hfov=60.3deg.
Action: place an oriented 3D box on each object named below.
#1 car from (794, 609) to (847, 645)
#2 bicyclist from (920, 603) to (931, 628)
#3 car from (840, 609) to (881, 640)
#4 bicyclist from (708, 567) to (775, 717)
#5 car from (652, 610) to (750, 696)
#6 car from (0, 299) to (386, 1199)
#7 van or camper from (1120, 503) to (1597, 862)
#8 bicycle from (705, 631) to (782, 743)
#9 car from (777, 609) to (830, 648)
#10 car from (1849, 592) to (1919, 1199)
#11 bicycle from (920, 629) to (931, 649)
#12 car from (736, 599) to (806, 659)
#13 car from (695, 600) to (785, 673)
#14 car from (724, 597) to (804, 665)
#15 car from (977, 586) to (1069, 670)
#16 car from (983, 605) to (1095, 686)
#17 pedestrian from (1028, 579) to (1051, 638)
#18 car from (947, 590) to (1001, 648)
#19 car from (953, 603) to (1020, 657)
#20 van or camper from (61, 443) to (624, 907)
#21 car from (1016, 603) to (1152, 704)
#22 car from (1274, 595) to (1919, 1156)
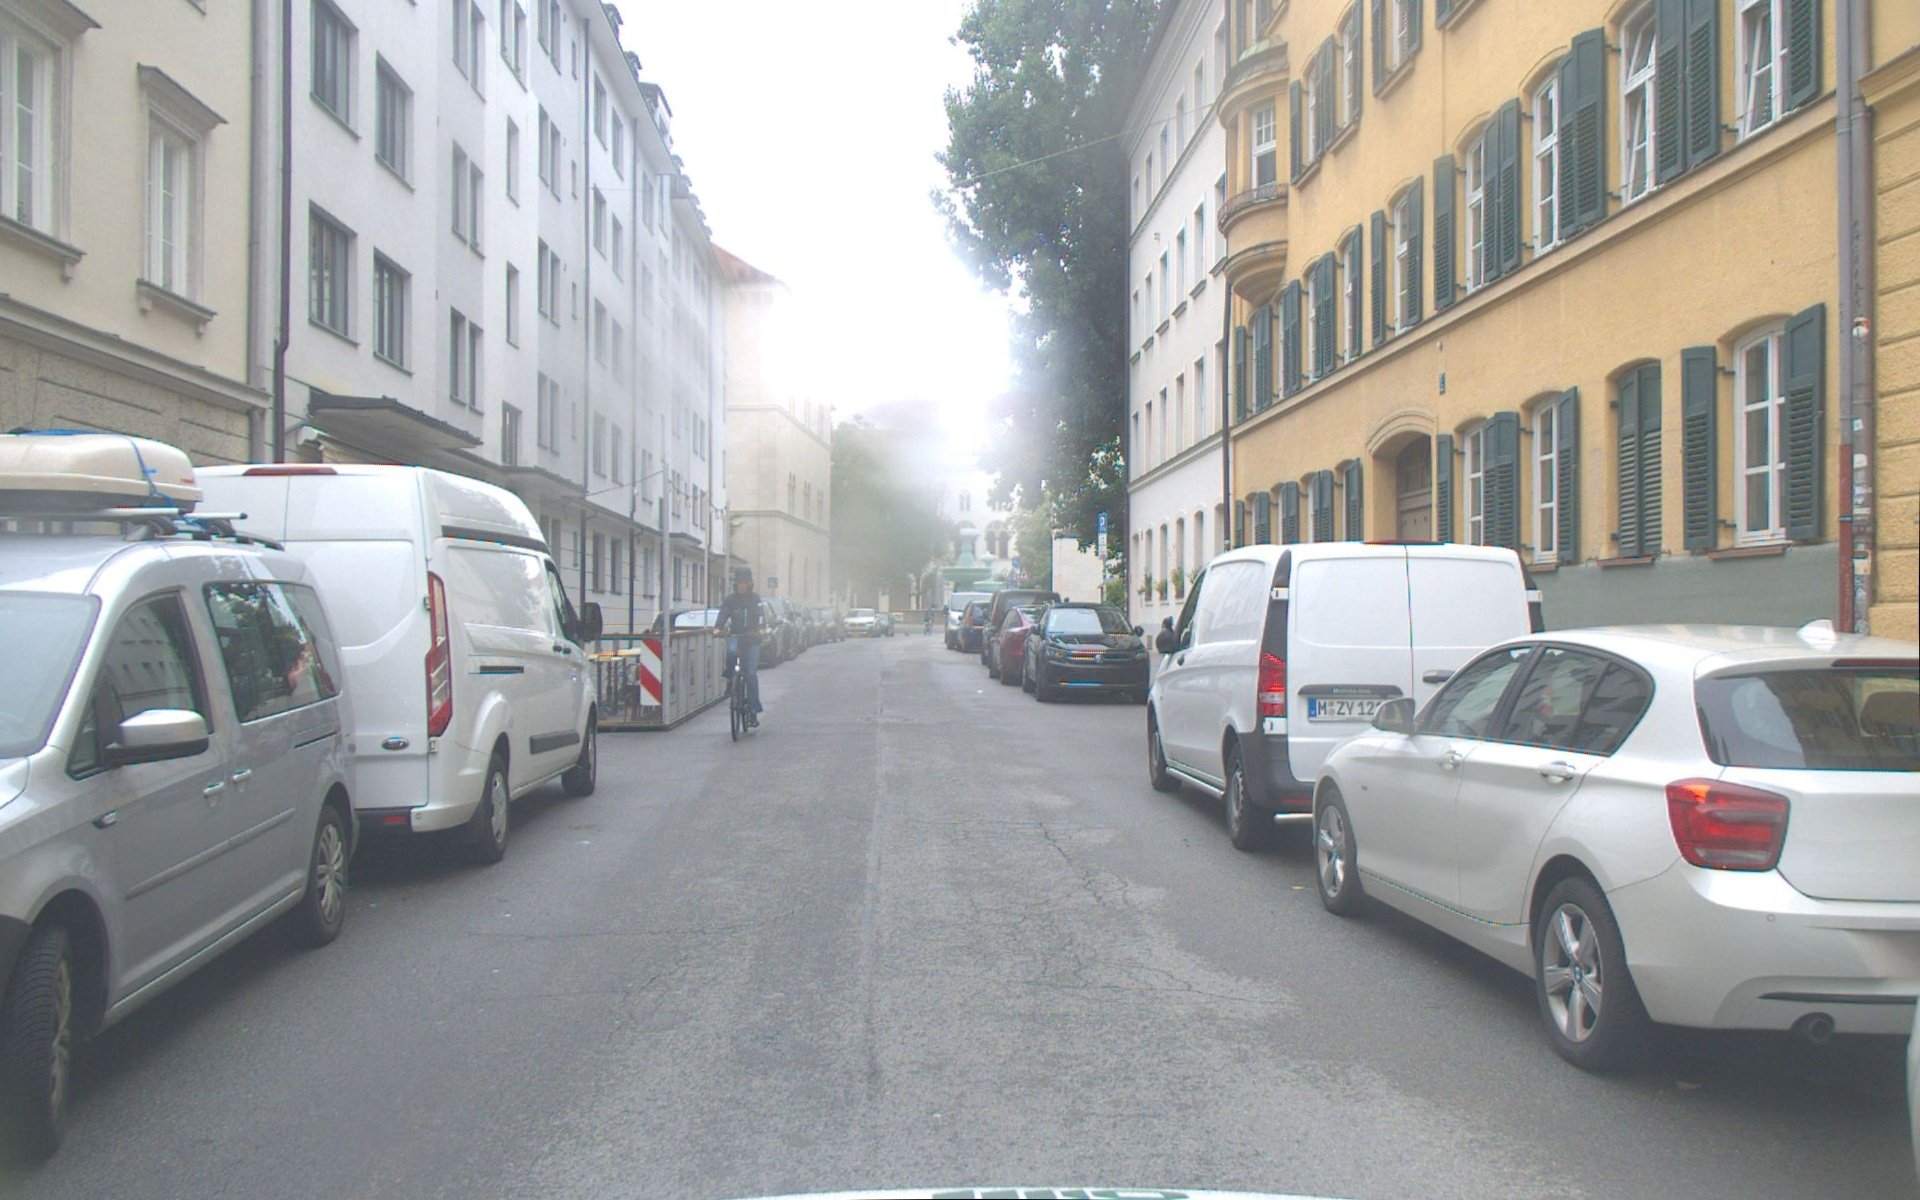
[{"bbox_3d":[-6.099,1.157,72.639,1.714,1.479,4.017,-2,0,3],"label":"car"},{"bbox_3d":[-2.188,0.971,103.818,0.643,1.578,0.887,0,-1,0],"label":"bicyclist"},{"bbox_3d":[-5.276,1.345,87.934,1.741,1.562,4.212,-2,-1,2],"label":"car"},{"bbox_3d":[-2.465,0.466,18.741,0.673,1.656,0.852,1,0,-4],"label":"bicyclist"},{"bbox_3d":[-4.664,0.906,29.835,1.608,1.378,4.050,-2,0,-9],"label":"car"},{"bbox_3d":[-3.515,0.394,6.002,1.822,2.240,4.553,1,0,-8],"label":"car"},{"bbox_3d":[2.556,0.470,12.127,1.954,2.049,5.229,0,0,-3],"label":"van or camper"},{"bbox_3d":[-2.429,0.951,18.735,0.718,1.171,1.998,0,0,-3],"label":"bicycle"},{"bbox_3d":[-6.376,1.150,67.868,1.714,1.479,4.016,-2,0,1],"label":"car"},{"bbox_3d":[2.957,0.741,1.990,1.591,1.536,3.759,0,0,-3],"label":"car"},{"bbox_3d":[-2.177,2.448,103.784,0.635,1.218,1.950,-1,-1,0],"label":"bicycle"},{"bbox_3d":[-5.769,0.858,50.929,1.835,1.687,4.587,-2,0,-3],"label":"car"},{"bbox_3d":[-5.164,0.817,39.239,1.738,1.566,4.156,-2,0,-3],"label":"car"},{"bbox_3d":[-5.331,0.795,45.453,1.835,1.717,4.517,-2,0,-3],"label":"car"},{"bbox_3d":[1.428,0.654,38.726,1.809,1.807,4.199,2,-1,-2],"label":"car"},{"bbox_3d":[1.459,0.833,31.984,1.679,1.449,4.454,0,-1,-4],"label":"car"},{"bbox_3d":[3.041,0.340,63.159,0.777,2.236,0.813,1,-1,-3],"label":"pedestrian"},{"bbox_3d":[0.454,0.671,58.794,1.843,1.958,4.874,0,0,0],"label":"car"},{"bbox_3d":[0.814,0.923,52.753,1.772,1.628,4.211,1,-1,-4],"label":"car"},{"bbox_3d":[-3.729,0.375,11.256,1.953,2.351,5.475,-1,0,-3],"label":"van or camper"},{"bbox_3d":[1.915,0.802,26.580,1.711,1.489,3.998,0,0,-2],"label":"car"},{"bbox_3d":[2.798,0.758,6.903,1.780,1.536,4.583,0,0,-5],"label":"car"}]
